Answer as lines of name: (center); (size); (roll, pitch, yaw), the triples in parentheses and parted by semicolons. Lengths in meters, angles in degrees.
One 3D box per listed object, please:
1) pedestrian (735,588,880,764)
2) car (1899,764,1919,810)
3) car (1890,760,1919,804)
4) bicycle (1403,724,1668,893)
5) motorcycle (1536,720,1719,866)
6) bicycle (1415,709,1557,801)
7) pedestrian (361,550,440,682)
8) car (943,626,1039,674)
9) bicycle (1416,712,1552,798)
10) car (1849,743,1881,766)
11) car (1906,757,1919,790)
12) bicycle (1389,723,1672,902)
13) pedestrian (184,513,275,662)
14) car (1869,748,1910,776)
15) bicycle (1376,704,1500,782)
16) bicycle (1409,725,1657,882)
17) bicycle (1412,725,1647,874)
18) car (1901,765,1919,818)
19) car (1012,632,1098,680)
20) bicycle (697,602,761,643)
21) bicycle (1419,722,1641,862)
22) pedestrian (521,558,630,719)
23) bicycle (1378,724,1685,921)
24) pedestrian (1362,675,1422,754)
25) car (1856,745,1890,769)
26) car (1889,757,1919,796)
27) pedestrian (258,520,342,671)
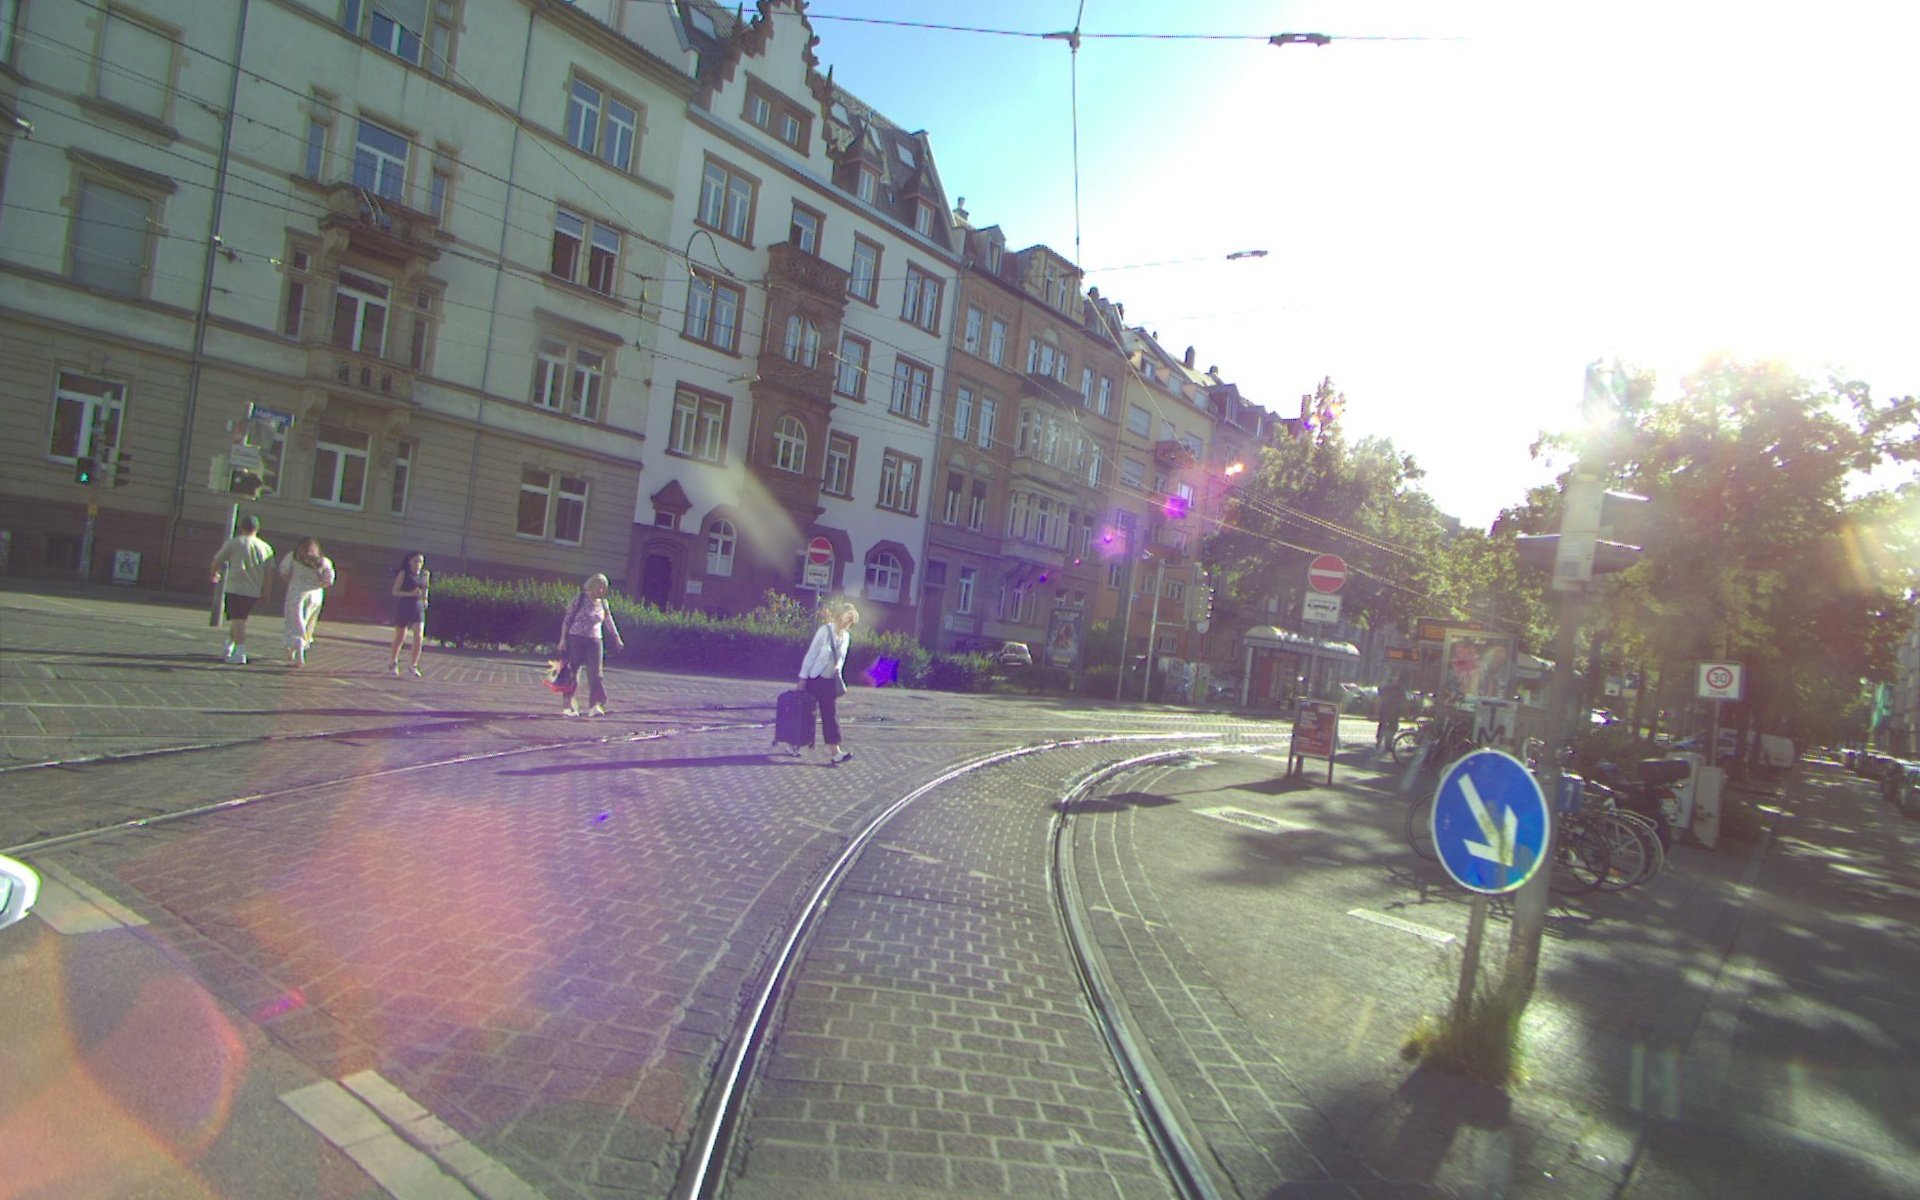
pedestrian: (-1.575, 0.776, 10.363); (0.919, 1.651, 0.998); (7, -1, -41)
car: (34.082, 6.613, 35.157); (1.722, 1.437, 3.749); (6, -2, 44)
car: (37.114, 7.074, 38.767); (1.722, 1.437, 3.749); (6, -2, 44)
bicycle: (6.124, 2.178, 10.836); (2.273, 1.224, 0.650); (9, 1, 32)
motorcycle: (8.834, 2.512, 13.443); (0.851, 1.422, 1.942); (9, 1, -3)
bicycle: (9.181, 2.691, 17.648); (2.002, 1.224, 0.651); (7, 0, 19)
pedestrian: (-7.081, 0.193, 12.770); (0.627, 1.556, 0.936); (7, 0, -24)
car: (1.333, 2.133, 42.190); (1.866, 1.414, 3.988); (9, -1, 39)
bicycle: (9.617, 2.831, 18.539); (2.002, 1.142, 0.651); (9, 1, 19)
car: (72.061, 12.286, 80.086); (1.722, 1.437, 3.749); (6, -2, 44)
car: (45.392, 8.183, 46.901); (1.722, 1.437, 3.749); (6, -2, 44)
bicycle: (5.702, 2.074, 10.186); (2.273, 1.224, 0.752); (8, 0, 32)
pedestrian: (-8.731, -0.148, 12.053); (0.696, 1.674, 0.626); (7, 0, -34)
car: (58.802, 10.224, 63.637); (1.722, 1.437, 3.749); (6, -2, 44)
bicycle: (9.568, 2.848, 20.190); (2.001, 1.142, 0.651); (9, 1, 8)
bicycle: (6.509, 2.269, 11.549); (2.273, 1.224, 0.650); (9, 1, 32)
bicycle: (6.836, 2.353, 12.184); (2.273, 1.224, 0.650); (9, 1, 32)
car: (30.003, 5.953, 30.732); (1.722, 1.437, 3.749); (6, -2, 44)
car: (4.384, 2.581, 45.953); (1.866, 1.586, 3.988); (10, -1, 39)
bicycle: (-8.125, 0.809, 35.488); (0.518, 1.187, 2.185); (8, -1, 41)
bicycle: (7.227, 2.389, 12.857); (2.273, 1.224, 0.650); (9, 1, 32)
pedestrian: (-4.333, 0.417, 11.300); (0.914, 1.651, 0.936); (7, 0, -24)
bicycle: (5.296, 2.007, 9.472); (2.273, 1.224, 0.752); (9, 1, 32)
pedestrian: (10.066, 2.654, 23.473); (1.002, 1.651, 1.010); (7, 0, 17)
car: (69.146, 11.872, 76.171); (1.722, 1.437, 3.749); (6, -2, 44)
car: (42.000, 7.779, 44.114); (1.722, 1.437, 3.749); (6, -2, 44)
pedestrian: (-8.259, -0.058, 12.597); (0.640, 1.764, 0.699); (9, -2, -35)
